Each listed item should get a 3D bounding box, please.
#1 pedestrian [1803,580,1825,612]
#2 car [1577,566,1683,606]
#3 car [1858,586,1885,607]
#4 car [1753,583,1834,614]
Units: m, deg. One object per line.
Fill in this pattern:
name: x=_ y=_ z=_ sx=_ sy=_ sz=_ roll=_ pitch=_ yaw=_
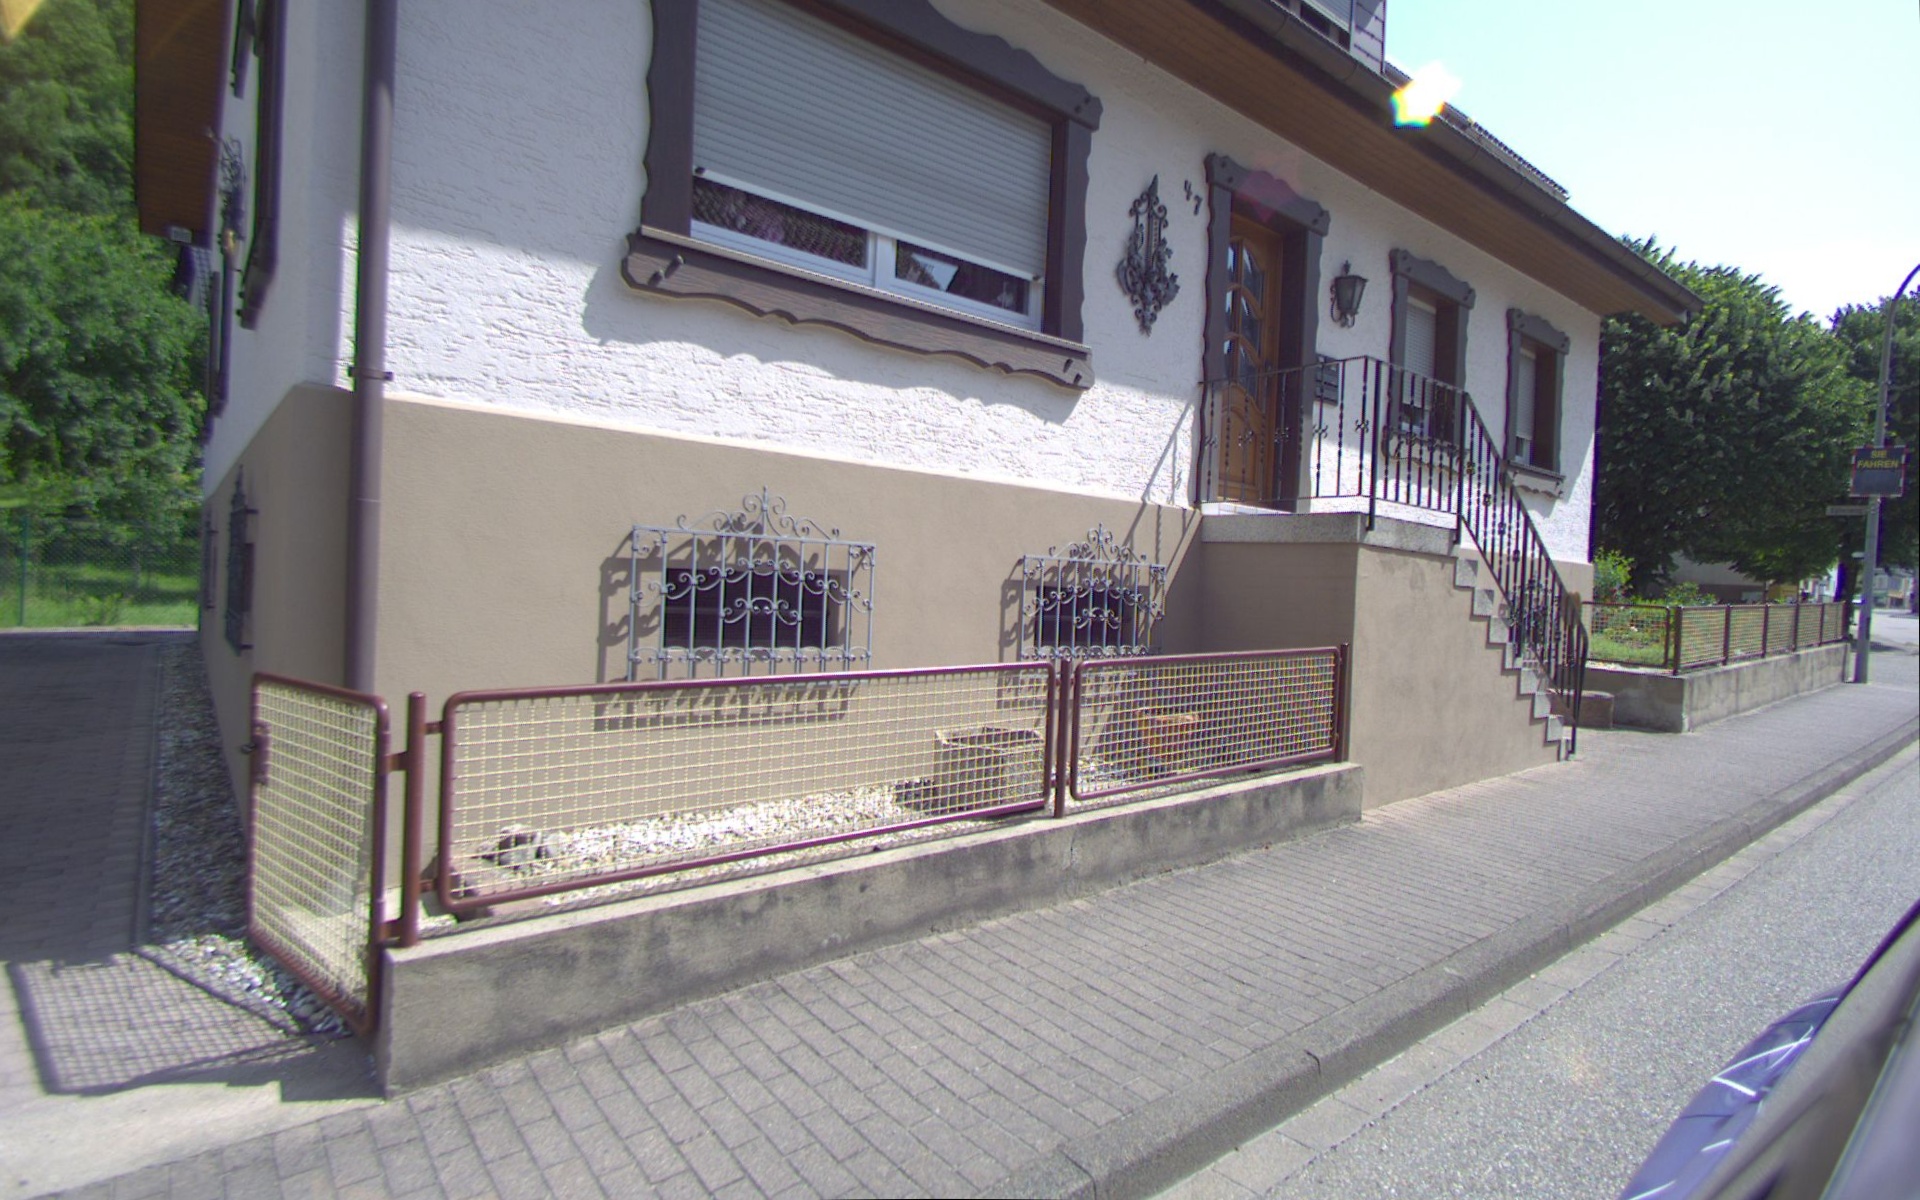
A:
pedestrian: x=46.151 y=-0.204 z=54.673 sx=0.699 sy=1.691 sz=0.682 roll=1 pitch=3 yaw=-40
car: x=29.889 y=-0.668 z=45.197 sx=3.824 sy=1.423 sz=1.546 roll=7 pitch=5 yaw=36
car: x=95.125 y=-0.358 z=105.613 sx=1.992 sy=2.039 sz=3.939 roll=-3 pitch=-1 yaw=42
car: x=50.526 y=-0.128 z=61.410 sx=1.617 sy=1.615 sz=3.353 roll=1 pitch=3 yaw=-27
